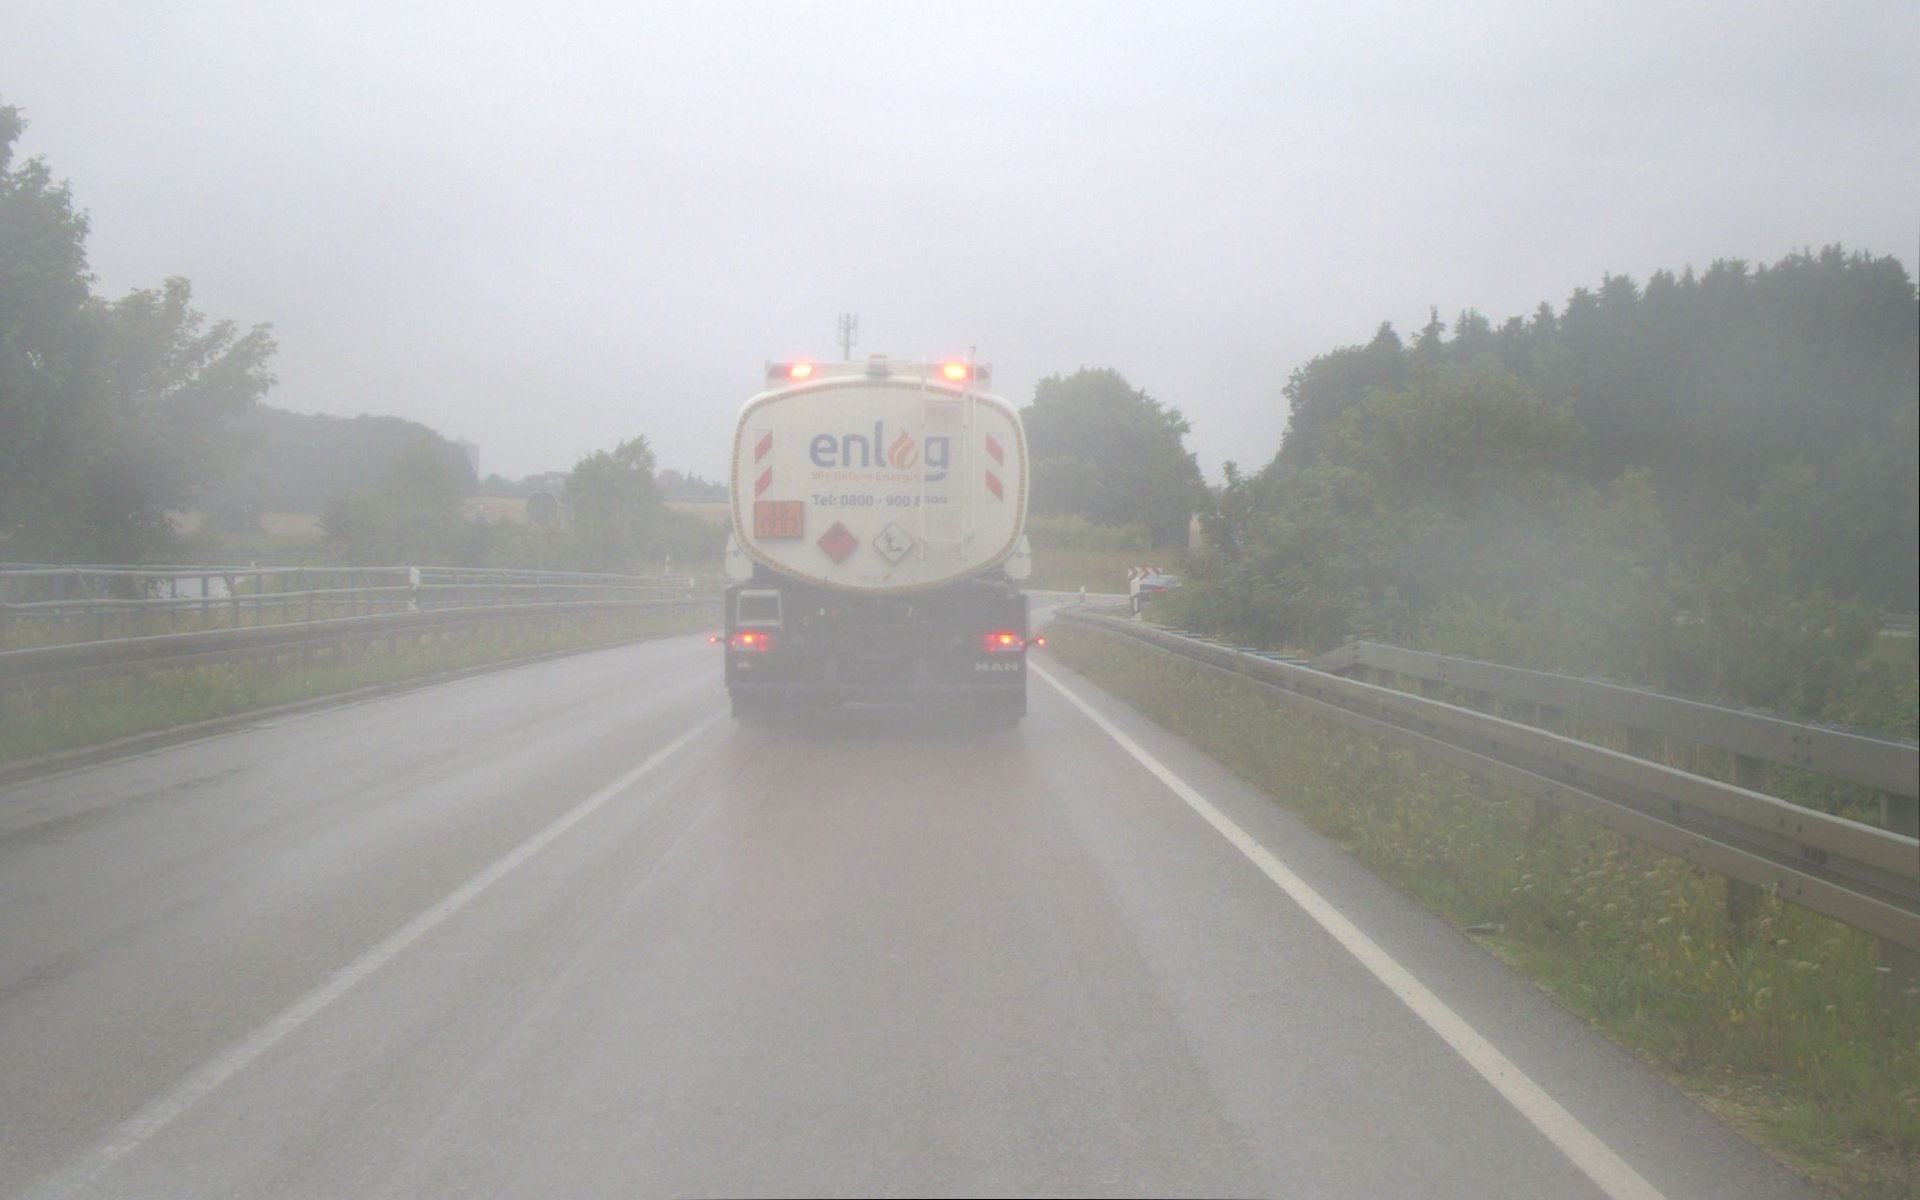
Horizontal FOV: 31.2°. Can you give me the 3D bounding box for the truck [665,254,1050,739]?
[{"bbox_3d":[-0.807,-0.885,31.725,3.039,3.838,8.822,0,1,0],"label":"truck"}]
